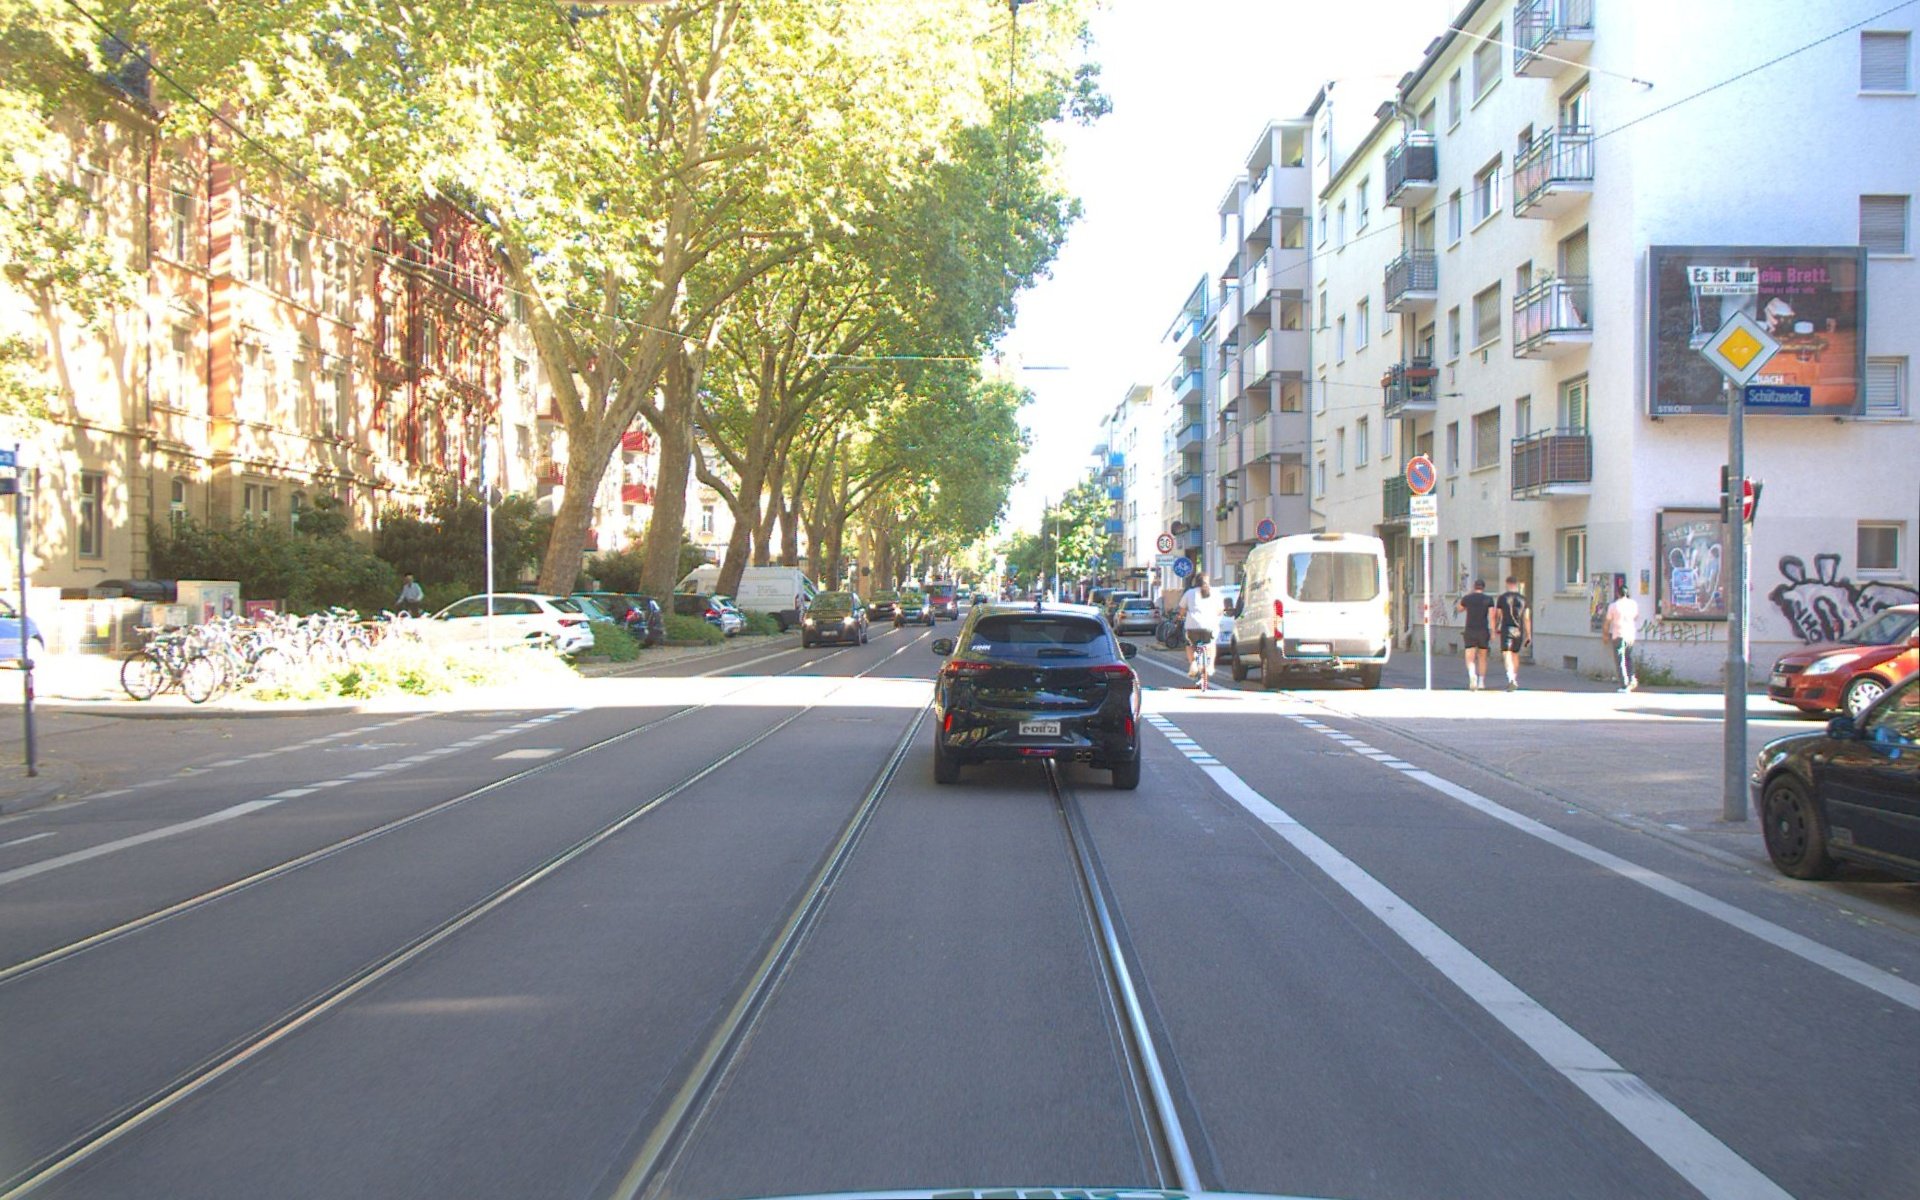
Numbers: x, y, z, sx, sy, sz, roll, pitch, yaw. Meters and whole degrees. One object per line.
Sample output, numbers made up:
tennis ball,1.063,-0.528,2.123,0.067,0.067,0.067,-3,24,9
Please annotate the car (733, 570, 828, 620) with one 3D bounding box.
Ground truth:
car,-9.441,-0.280,87.309,4.844,2.612,2.082,0,0,-2

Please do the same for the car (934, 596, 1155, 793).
car,0.668,0.720,14.387,1.645,1.447,3.628,2,0,1

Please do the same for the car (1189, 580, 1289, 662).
car,6.689,0.472,40.029,1.820,1.852,4.352,0,0,2

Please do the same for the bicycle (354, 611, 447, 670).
bicycle,-10.382,0.734,30.669,1.767,1.061,0.596,0,0,29

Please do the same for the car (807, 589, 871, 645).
car,-3.459,0.464,47.728,1.602,1.536,3.691,0,0,-1

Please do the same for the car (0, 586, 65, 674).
car,-16.968,0.503,28.202,1.566,1.486,3.488,0,0,-2

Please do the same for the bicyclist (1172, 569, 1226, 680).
bicyclist,3.908,0.397,27.100,0.770,1.790,0.915,0,0,1

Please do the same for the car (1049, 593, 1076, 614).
car,8.056,0.237,130.015,1.684,1.601,4.082,0,0,-3

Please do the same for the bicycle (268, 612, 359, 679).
bicycle,-10.851,0.756,27.753,1.525,1.107,0.396,0,0,19

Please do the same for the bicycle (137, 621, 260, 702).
bicycle,-10.754,0.853,23.342,1.818,1.107,0.396,0,0,19

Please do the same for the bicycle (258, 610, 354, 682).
bicycle,-10.397,0.722,26.295,1.525,1.107,0.396,0,0,19

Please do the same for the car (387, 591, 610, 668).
car,-9.184,0.587,33.141,3.905,1.486,1.879,0,-1,0

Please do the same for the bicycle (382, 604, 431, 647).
bicycle,-15.283,0.688,45.735,0.727,1.158,1.780,0,0,1

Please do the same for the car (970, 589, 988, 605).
car,2.078,-0.311,179.944,1.713,1.680,4.002,0,0,3

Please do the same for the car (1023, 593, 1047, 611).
car,6.977,0.188,154.426,1.954,1.668,3.998,0,0,-3

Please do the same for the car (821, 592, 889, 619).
car,-6.211,0.328,98.428,3.905,1.548,1.771,0,0,0

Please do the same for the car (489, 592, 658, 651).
car,-9.920,0.530,42.607,3.903,1.486,1.771,0,0,3

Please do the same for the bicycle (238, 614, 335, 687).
bicycle,-10.534,0.781,25.867,1.525,1.107,0.396,0,0,19

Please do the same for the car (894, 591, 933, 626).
car,-2.068,0.376,74.398,1.683,1.536,3.722,0,0,-1

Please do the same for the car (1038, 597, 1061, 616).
car,7.306,0.533,135.616,1.683,1.516,3.681,0,0,0

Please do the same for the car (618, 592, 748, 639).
car,-9.073,0.488,54.397,3.904,1.522,1.831,0,0,2

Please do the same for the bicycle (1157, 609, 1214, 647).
bicycle,6.701,0.838,49.115,1.618,1.073,0.457,-2,0,1

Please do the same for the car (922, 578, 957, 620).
car,-1.137,-0.074,92.344,1.878,2.266,4.959,0,0,0

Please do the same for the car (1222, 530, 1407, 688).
car,6.220,0.143,29.810,2.105,2.539,6.089,0,0,1

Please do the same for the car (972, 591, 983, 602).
car,2.554,-0.483,239.601,1.645,1.447,3.628,2,0,1

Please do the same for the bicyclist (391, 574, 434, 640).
bicyclist,-15.225,0.187,46.023,0.813,1.794,1.048,0,0,1

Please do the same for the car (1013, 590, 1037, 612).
car,5.080,0.105,128.549,1.819,1.680,4.002,0,0,3

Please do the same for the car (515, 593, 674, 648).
car,-9.952,0.547,45.185,3.903,1.486,1.705,0,0,3

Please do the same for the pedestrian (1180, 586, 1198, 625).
pedestrian,10.430,0.238,75.399,0.740,1.750,0.720,0,0,0

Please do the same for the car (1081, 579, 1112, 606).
car,8.660,-0.454,105.175,1.819,1.680,4.002,0,0,3

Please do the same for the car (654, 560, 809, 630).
car,-8.776,-0.210,63.927,5.622,2.580,2.163,1,0,1

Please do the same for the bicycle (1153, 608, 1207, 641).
bicycle,6.939,0.776,52.114,1.618,0.983,0.457,-2,0,1

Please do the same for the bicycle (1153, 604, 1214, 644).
bicycle,6.863,0.724,50.903,1.757,1.168,0.704,-2,0,1

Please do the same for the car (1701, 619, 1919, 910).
car,5.760,0.860,8.883,1.616,1.445,4.058,-2,0,-2

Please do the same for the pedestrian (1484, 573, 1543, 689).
pedestrian,9.061,0.505,27.088,0.612,1.854,1.082,-1,-1,3

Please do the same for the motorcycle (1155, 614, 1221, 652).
motorcycle,6.647,0.965,48.187,1.782,1.099,0.617,-1,0,25

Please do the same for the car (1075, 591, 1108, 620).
car,7.735,0.333,97.590,1.819,1.680,4.002,0,0,3

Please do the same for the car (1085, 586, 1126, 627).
car,7.058,0.279,80.446,1.819,1.923,4.926,0,0,3

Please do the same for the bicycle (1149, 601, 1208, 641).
bicycle,6.946,0.666,52.597,1.785,1.212,0.457,-2,0,1

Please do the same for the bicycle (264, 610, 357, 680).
bicycle,-10.555,0.715,26.863,1.525,1.107,0.396,0,0,19

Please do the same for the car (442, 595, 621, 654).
car,-10.374,0.578,40.172,3.903,1.393,1.606,0,0,3

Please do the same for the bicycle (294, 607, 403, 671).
bicycle,-10.917,0.690,29.524,1.878,1.107,0.597,0,0,19

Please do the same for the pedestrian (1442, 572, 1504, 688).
pedestrian,8.403,0.485,27.124,0.695,1.854,1.082,-1,-1,3

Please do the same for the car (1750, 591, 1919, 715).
car,12.846,0.692,22.313,3.572,1.601,1.791,0,0,7

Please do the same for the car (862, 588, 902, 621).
car,-4.392,0.237,93.532,1.952,1.730,4.485,-1,0,1

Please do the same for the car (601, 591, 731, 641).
car,-9.186,0.494,51.825,3.714,1.486,1.705,1,0,2

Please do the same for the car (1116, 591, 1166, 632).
car,7.077,0.431,65.035,1.688,1.552,4.514,0,0,3

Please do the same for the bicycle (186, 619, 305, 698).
bicycle,-10.443,0.841,24.171,1.818,1.107,0.396,0,0,19

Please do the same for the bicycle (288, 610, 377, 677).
bicycle,-10.708,0.732,28.228,1.525,1.107,0.396,0,0,19

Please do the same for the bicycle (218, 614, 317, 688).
bicycle,-10.642,0.776,25.416,1.525,1.107,0.396,0,0,19

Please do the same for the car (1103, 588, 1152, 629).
car,7.237,0.350,71.741,1.730,1.734,4.283,0,0,0

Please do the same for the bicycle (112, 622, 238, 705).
bicycle,-10.888,0.866,22.931,1.818,1.107,0.396,0,0,19

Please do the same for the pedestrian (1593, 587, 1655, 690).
pedestrian,10.701,0.607,26.671,0.618,1.608,0.933,2,-1,3

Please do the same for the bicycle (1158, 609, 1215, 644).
bicycle,6.856,0.808,50.110,1.618,1.004,0.457,-2,0,1

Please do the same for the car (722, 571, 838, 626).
car,-8.497,-0.075,78.440,5.249,2.521,2.057,0,0,1

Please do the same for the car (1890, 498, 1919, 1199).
car,2.985,0.654,1.437,1.903,1.734,4.631,0,0,2

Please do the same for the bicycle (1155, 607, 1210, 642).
bicycle,6.942,0.770,51.580,1.618,1.038,0.457,-2,0,1

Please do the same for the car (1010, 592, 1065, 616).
car,5.615,0.279,119.906,3.904,1.680,1.865,0,0,1

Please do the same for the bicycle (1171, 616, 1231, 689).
bicycle,3.939,0.840,27.135,0.686,1.111,1.990,2,0,1
